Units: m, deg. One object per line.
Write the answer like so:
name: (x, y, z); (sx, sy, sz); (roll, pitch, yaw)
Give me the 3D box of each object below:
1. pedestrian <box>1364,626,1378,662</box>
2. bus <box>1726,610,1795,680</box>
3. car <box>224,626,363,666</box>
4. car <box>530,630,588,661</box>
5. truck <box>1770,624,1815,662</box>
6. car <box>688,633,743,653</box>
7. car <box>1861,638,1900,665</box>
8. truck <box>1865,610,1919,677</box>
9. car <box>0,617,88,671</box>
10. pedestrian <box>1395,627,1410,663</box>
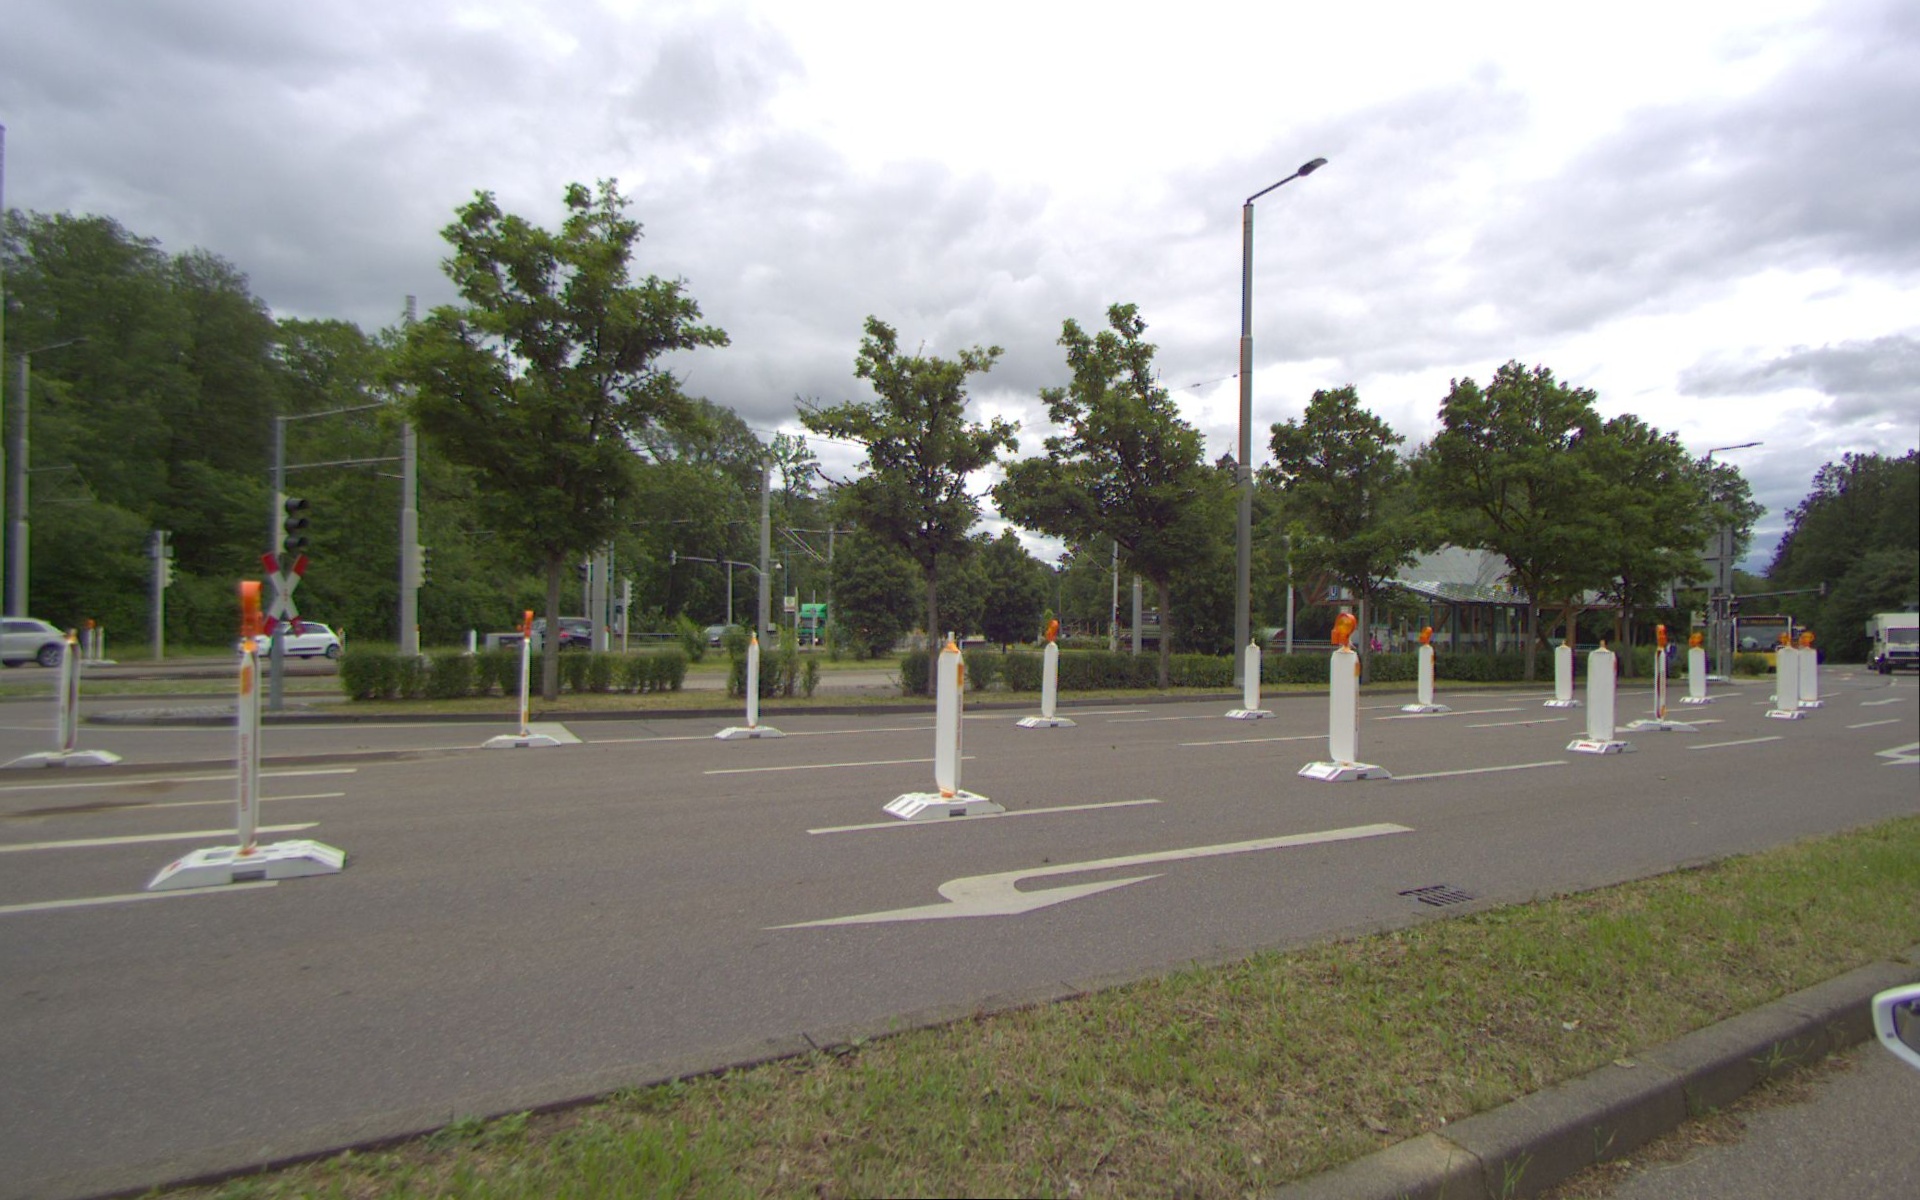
pedestrian: (19.098, 2.053, 46.666); (0.482, 1.647, 0.562); (0, 0, 5)
bus: (46.297, 2.514, 58.341); (2.786, 3.651, 12.754); (0, -1, 37)
car: (-27.306, 1.845, 41.313); (1.931, 1.562, 4.393); (0, -1, 24)
car: (-18.705, 2.091, 46.990); (1.747, 1.379, 3.472); (0, -2, -8)
truck: (75.742, 3.978, 91.517); (2.451, 3.329, 8.493); (0, -3, 35)
car: (-17.179, 3.007, 70.794); (1.928, 1.379, 4.313); (0, -1, 14)
car: (58.134, 3.229, 63.492); (1.537, 1.549, 3.810); (0, -1, 38)
truck: (49.958, 2.272, 53.347); (2.455, 3.330, 8.479); (-1, -2, 40)
car: (-29.872, 1.333, 30.848); (1.928, 1.628, 4.313); (0, -1, 14)
pedestrian: (20.269, 2.065, 46.002); (0.482, 1.647, 0.562); (0, 0, 5)
